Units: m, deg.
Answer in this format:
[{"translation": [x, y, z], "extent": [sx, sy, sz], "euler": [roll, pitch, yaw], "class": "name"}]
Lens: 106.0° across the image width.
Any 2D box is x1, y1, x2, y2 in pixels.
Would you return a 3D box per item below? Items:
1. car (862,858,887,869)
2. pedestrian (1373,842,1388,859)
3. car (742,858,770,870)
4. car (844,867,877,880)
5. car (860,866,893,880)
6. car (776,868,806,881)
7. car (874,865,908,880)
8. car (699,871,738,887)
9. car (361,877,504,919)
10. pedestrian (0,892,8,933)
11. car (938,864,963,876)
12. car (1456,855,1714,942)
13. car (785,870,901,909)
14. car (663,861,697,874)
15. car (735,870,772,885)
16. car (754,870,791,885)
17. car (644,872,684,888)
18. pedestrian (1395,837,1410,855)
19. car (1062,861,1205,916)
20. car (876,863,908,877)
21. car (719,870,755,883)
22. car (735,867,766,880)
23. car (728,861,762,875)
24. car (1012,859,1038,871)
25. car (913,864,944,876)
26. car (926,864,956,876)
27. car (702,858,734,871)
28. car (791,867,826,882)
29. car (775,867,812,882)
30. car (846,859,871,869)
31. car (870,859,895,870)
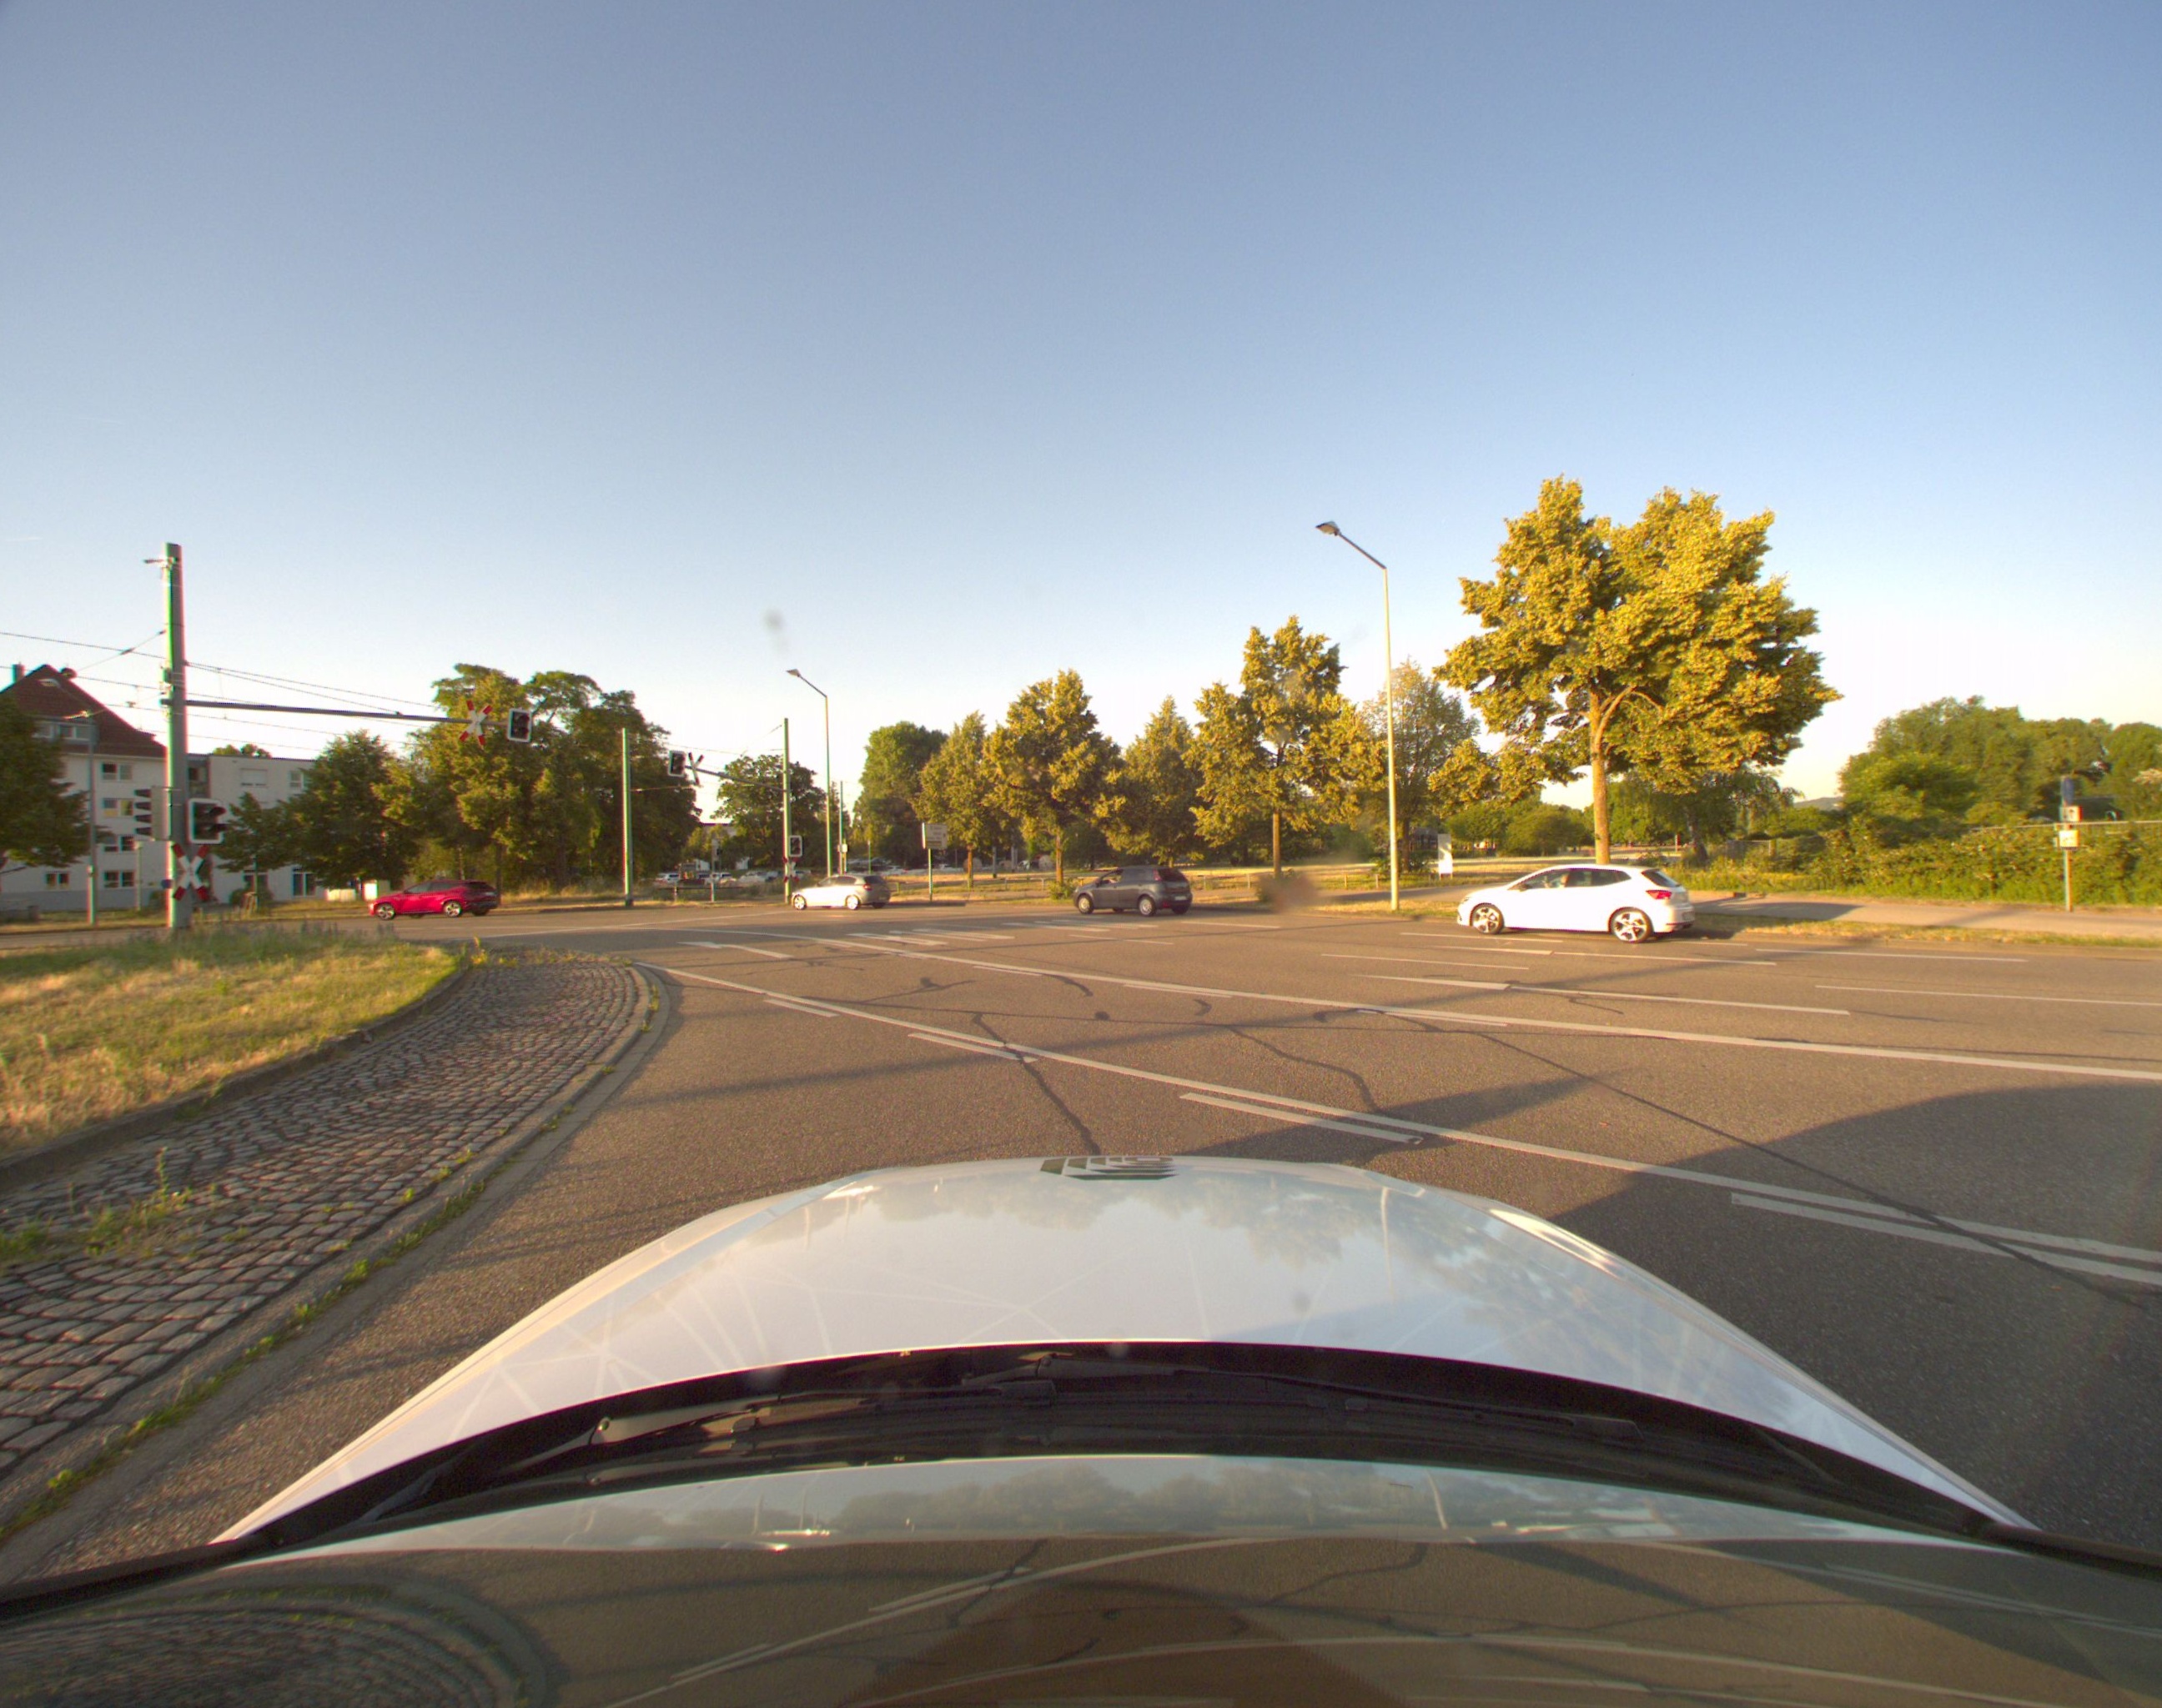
[{"translation": [-37.972, 1.764, 150.066], "extent": [1.975, 2.013, 4.025], "euler": [-2, 0, 42], "class": "car"}, {"translation": [28.922, -0.335, 78.598], "extent": [1.064, 1.617, 0.911], "euler": [-2, 0, 4], "class": "pedestrian"}, {"translation": [-57.850, 1.793, 144.956], "extent": [1.974, 2.013, 4.143], "euler": [-2, 0, 36], "class": "car"}, {"translation": [-28.138, 2.467, 103.927], "extent": [3.948, 1.604, 2.013], "euler": [-2, 0, 34], "class": "car"}, {"translation": [-26.681, 2.473, 106.011], "extent": [3.948, 1.604, 2.013], "euler": [-2, 0, 34], "class": "car"}, {"translation": [-41.310, 2.872, 116.019], "extent": [4.001, 1.662, 1.889], "euler": [-2, 0, -20], "class": "car"}, {"translation": [-27.662, 2.672, 118.536], "extent": [4.578, 2.013, 1.995], "euler": [-2, 0, -7], "class": "car"}, {"translation": [-39.031, 2.676, 87.565], "extent": [3.948, 1.604, 2.013], "euler": [-2, 0, 34], "class": "car"}, {"translation": [-27.924, 1.853, 35.185], "extent": [4.392, 1.573, 1.997], "euler": [-2, 0, -4], "class": "car"}, {"translation": [-51.401, 2.773, 38.415], "extent": [0.666, 1.893, 0.619], "euler": [0, -1, -4], "class": "pedestrian"}, {"translation": [-20.852, 2.515, 130.013], "extent": [2.008, 1.752, 4.549], "euler": [-1, 1, -35], "class": "car"}, {"translation": [9.769, 0.806, 16.003], "extent": [1.878, 1.454, 3.923], "euler": [-1, -1, -42], "class": "car"}, {"translation": [-9.454, 1.412, 32.344], "extent": [4.112, 1.390, 1.878], "euler": [-2, 0, 24], "class": "car"}, {"translation": [-65.675, 2.222, 133.346], "extent": [1.974, 2.013, 4.627], "euler": [-2, 0, 32], "class": "car"}, {"translation": [-37.061, 2.698, 92.085], "extent": [3.948, 1.604, 2.013], "euler": [-2, 0, 34], "class": "car"}, {"translation": [-35.517, 2.699, 93.695], "extent": [3.948, 1.604, 2.013], "euler": [-2, 0, 34], "class": "car"}, {"translation": [-42.662, 2.668, 83.348], "extent": [3.948, 1.604, 2.013], "euler": [-2, 0, 34], "class": "car"}, {"translation": [30.893, -0.756, 78.214], "extent": [1.064, 1.617, 0.911], "euler": [-2, 0, 4], "class": "pedestrian"}, {"translation": [1.538, 1.017, 24.881], "extent": [1.879, 1.454, 4.111], "euler": [-3, 1, -45], "class": "car"}, {"translation": [-29.389, 2.403, 126.723], "extent": [4.578, 2.013, 1.995], "euler": [-2, 0, -7], "class": "car"}, {"translation": [-46.124, 3.005, 109.168], "extent": [1.878, 1.662, 4.026], "euler": [-2, 0, 37], "class": "car"}, {"translation": [-46.240, 2.774, 113.967], "extent": [4.005, 1.662, 1.984], "euler": [-2, 0, -24], "class": "car"}, {"translation": [-51.894, 2.112, 125.826], "extent": [1.974, 2.013, 4.627], "euler": [-2, 0, 32], "class": "car"}, {"translation": [-7.966, 1.511, 115.288], "extent": [1.748, 1.618, 3.954], "euler": [-1, 0, -39], "class": "car"}, {"translation": [-21.478, 2.304, 114.811], "extent": [3.948, 1.604, 2.013], "euler": [-2, 0, 34], "class": "car"}, {"translation": [-20.003, 2.361, 116.506], "extent": [3.948, 1.604, 2.013], "euler": [-2, 0, 34], "class": "car"}, {"translation": [-61.937, 1.777, 139.085], "extent": [1.974, 2.013, 4.628], "euler": [-2, 0, 36], "class": "car"}, {"translation": [-32.644, 2.449, 97.634], "extent": [3.948, 1.604, 2.013], "euler": [-2, 0, 34], "class": "car"}, {"translation": [-33.709, 2.439, 95.454], "extent": [3.948, 1.604, 2.013], "euler": [-2, 0, 34], "class": "car"}, {"translation": [-41.761, 1.874, 153.045], "extent": [1.974, 1.816, 4.026], "euler": [-2, 0, 37], "class": "car"}, {"translation": [-35.695, 1.875, 146.460], "extent": [3.964, 1.706, 2.005], "euler": [-2, 0, 8], "class": "car"}]
